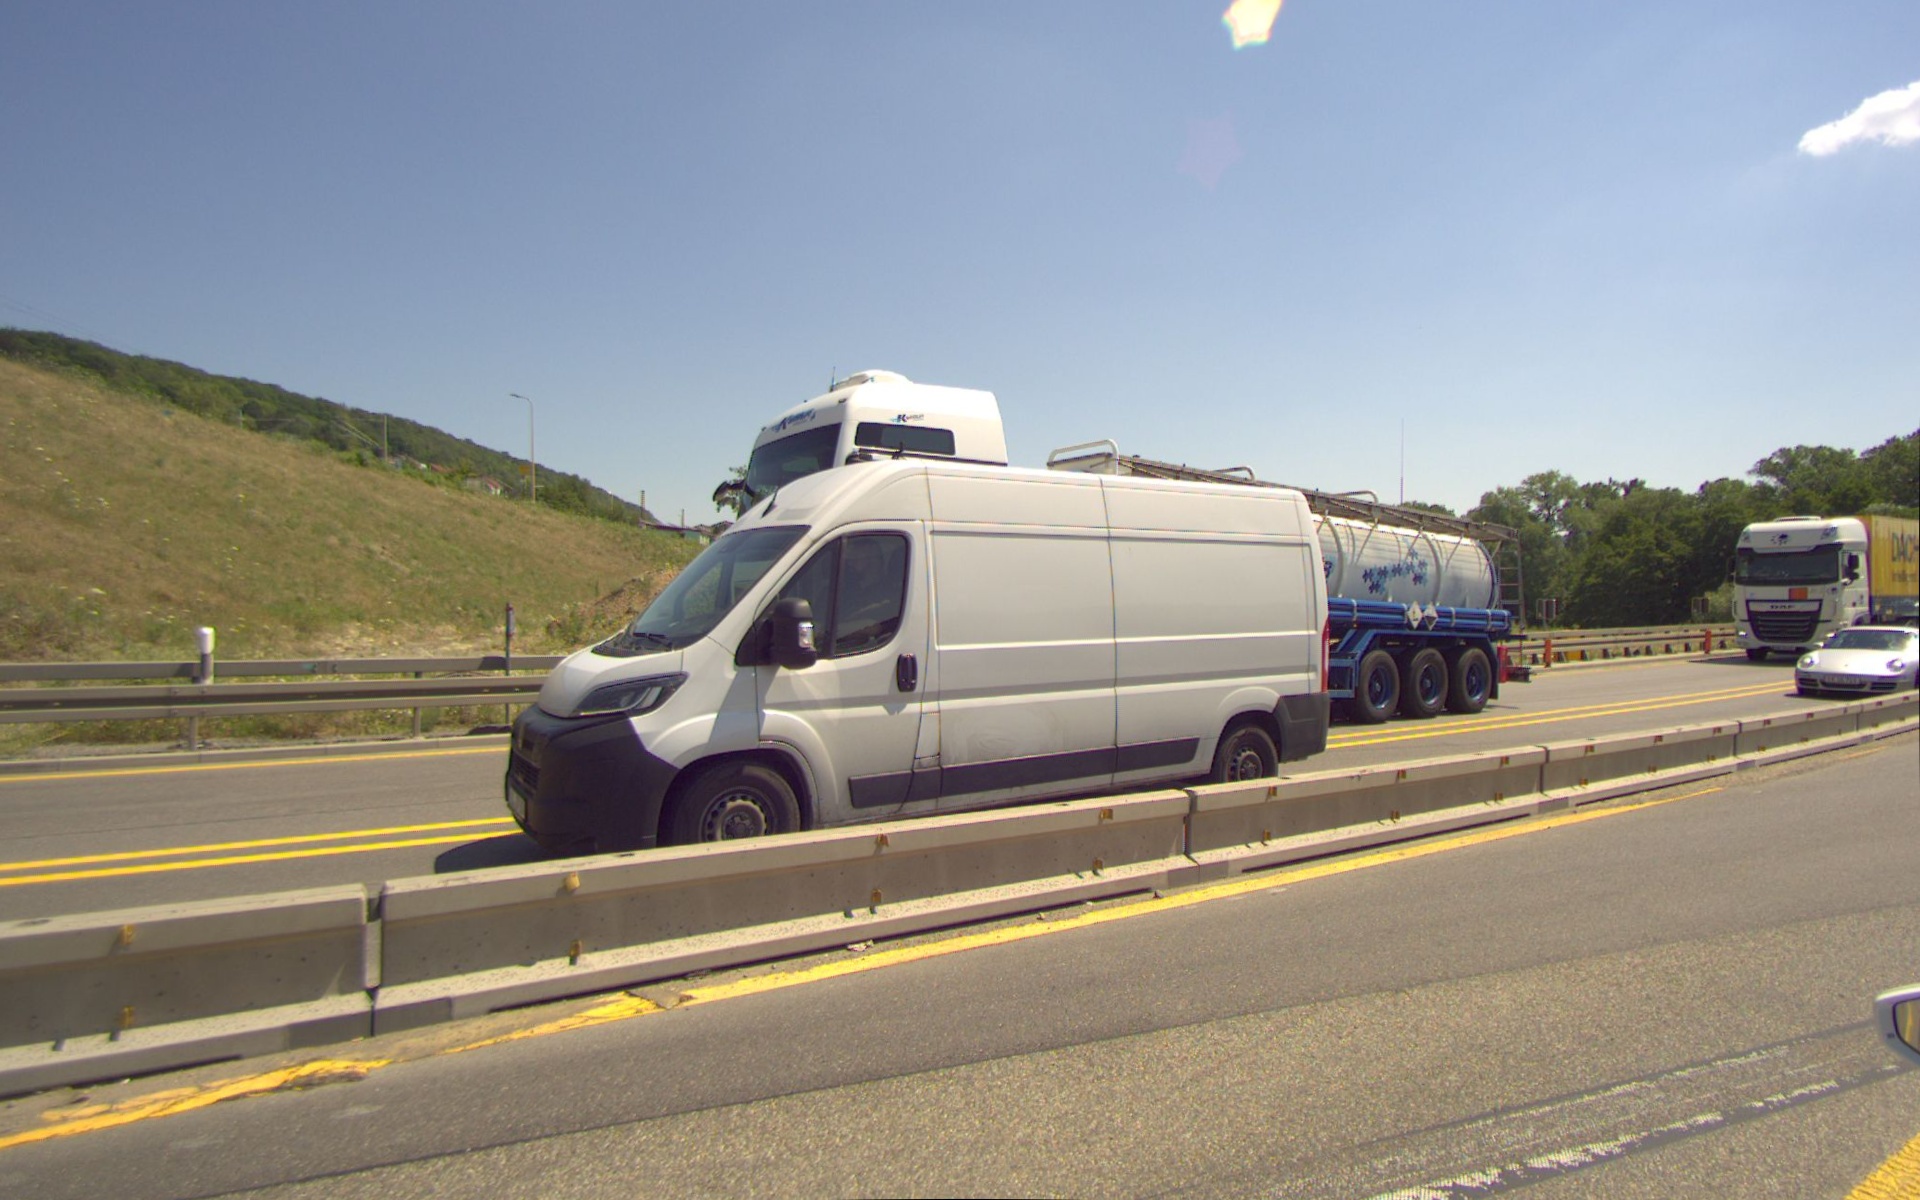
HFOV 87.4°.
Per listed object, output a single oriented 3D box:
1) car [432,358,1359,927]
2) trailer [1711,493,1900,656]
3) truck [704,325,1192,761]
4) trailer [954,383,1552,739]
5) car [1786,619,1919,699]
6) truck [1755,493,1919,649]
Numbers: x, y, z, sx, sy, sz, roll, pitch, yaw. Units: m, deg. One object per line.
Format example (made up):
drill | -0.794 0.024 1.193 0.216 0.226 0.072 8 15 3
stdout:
car | -0.006 0.294 7.163 6.418 2.536 2.058 2 -1 -35
trailer | 24.526 -0.720 29.111 5.162 4.286 2.849 -1 1 -33
truck | -0.058 -0.476 11.373 4.900 3.873 2.517 1 0 -35
trailer | 4.839 -0.330 14.752 10.140 3.840 2.509 1 0 -34
car | 17.679 1.061 19.351 4.292 1.282 1.665 0 1 -35
truck | 31.524 -0.791 33.478 15.199 4.400 2.792 0 0 -32
